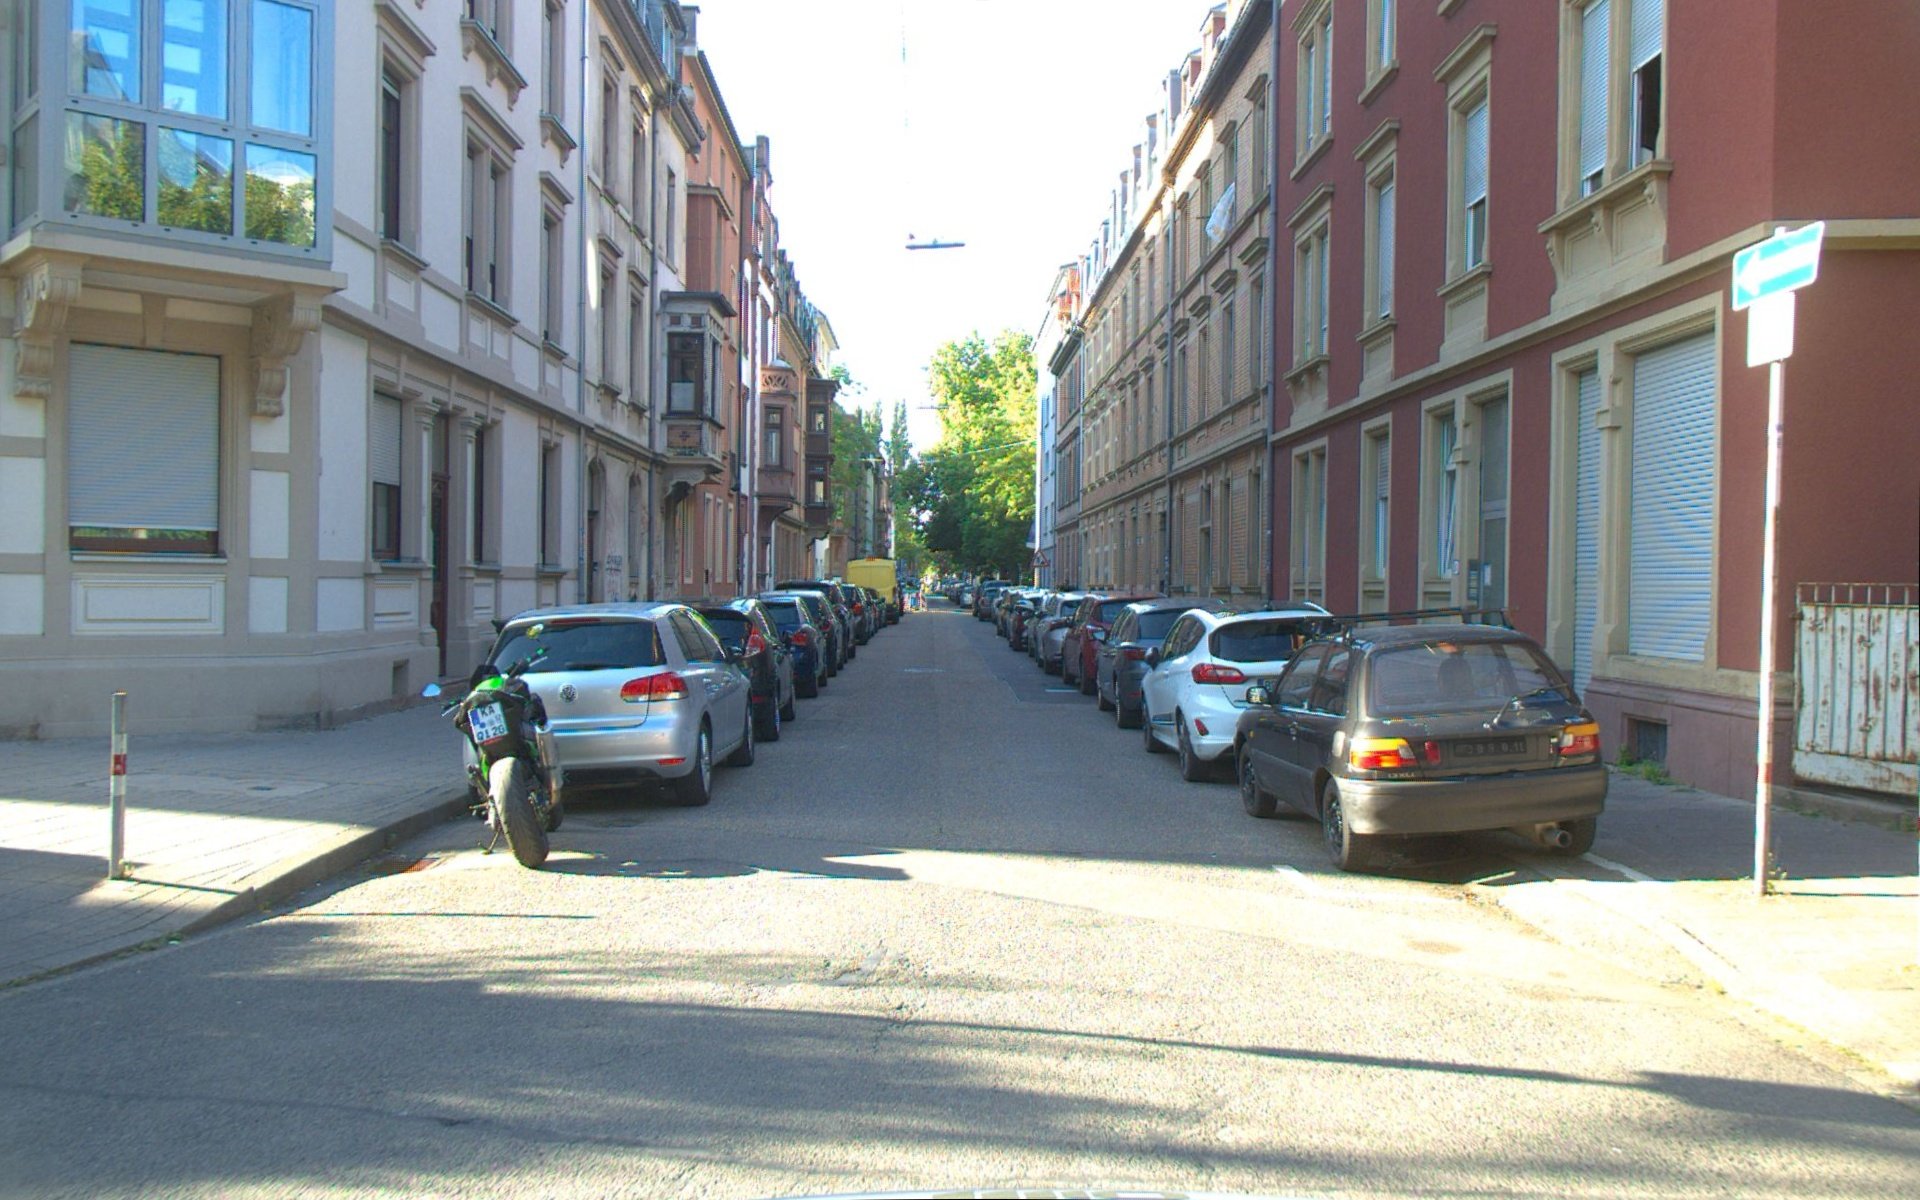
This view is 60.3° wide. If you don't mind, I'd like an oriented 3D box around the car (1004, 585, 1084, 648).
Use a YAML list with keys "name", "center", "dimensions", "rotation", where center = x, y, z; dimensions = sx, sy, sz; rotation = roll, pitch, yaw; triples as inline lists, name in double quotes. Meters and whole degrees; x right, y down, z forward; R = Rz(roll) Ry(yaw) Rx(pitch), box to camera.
- name: "car"
  center: [2.080, 0.381, 41.810]
  dimensions: [1.741, 1.421, 4.317]
  rotation: [1, 1, -1]

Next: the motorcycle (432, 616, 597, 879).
- name: "motorcycle"
  center: [-2.634, 0.808, 9.975]
  dimensions: [0.664, 1.357, 1.997]
  rotation: [-1, 1, -7]

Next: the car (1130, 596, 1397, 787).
- name: "car"
  center: [2.680, 0.744, 15.482]
  dimensions: [1.670, 1.488, 3.969]
  rotation: [1, 1, -1]

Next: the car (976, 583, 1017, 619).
- name: "car"
  center: [1.607, 0.027, 74.464]
  dimensions: [1.718, 1.478, 4.288]
  rotation: [-3, 1, 0]

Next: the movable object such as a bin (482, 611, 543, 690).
- name: "movable object such as a bin"
  center: [-5.729, 0.639, 21.180]
  dimensions: [0.609, 0.972, 0.511]
  rotation: [3, 0, -1]

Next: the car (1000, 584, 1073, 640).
- name: "car"
  center: [2.188, 0.317, 48.230]
  dimensions: [1.691, 1.442, 4.092]
  rotation: [-3, 1, -3]

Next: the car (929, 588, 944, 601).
- name: "car"
  center: [-3.175, -0.737, 223.241]
  dimensions: [1.953, 1.758, 3.999]
  rotation: [1, 1, -1]

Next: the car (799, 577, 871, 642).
- name: "car"
  center: [-3.284, 0.215, 44.091]
  dimensions: [1.745, 1.634, 4.068]
  rotation: [1, 1, -2]

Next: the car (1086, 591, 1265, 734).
- name: "car"
  center: [2.589, 0.692, 20.682]
  dimensions: [1.642, 1.529, 4.069]
  rotation: [1, 1, -1]

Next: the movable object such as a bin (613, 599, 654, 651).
- name: "movable object such as a bin"
  center: [-6.028, 0.459, 30.521]
  dimensions: [0.600, 0.936, 0.733]
  rotation: [1, 0, -2]

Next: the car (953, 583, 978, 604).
- name: "car"
  center: [0.445, -0.548, 135.265]
  dimensions: [1.856, 1.653, 3.998]
  rotation: [1, 0, -2]

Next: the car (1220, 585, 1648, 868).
- name: "car"
  center: [2.906, 0.686, 10.966]
  dimensions: [1.635, 1.509, 3.705]
  rotation: [1, 1, -2]

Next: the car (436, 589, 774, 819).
- name: "car"
  center: [-2.639, 0.695, 13.232]
  dimensions: [1.744, 1.509, 3.933]
  rotation: [1, 1, 1]

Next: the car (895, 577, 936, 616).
- name: "car"
  center: [-2.211, -0.179, 81.133]
  dimensions: [1.783, 1.797, 4.332]
  rotation: [1, 0, -4]

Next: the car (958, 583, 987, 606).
- name: "car"
  center: [0.829, -0.404, 113.988]
  dimensions: [1.689, 1.549, 3.997]
  rotation: [1, 1, -4]

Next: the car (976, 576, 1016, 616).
- name: "car"
  center: [1.704, -0.242, 79.902]
  dimensions: [1.718, 1.817, 4.723]
  rotation: [-1, 1, -1]

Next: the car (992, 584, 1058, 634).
- name: "car"
  center: [2.037, 0.250, 52.972]
  dimensions: [1.719, 1.471, 4.067]
  rotation: [-2, 1, -3]

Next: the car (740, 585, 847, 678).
- name: "car"
  center: [-2.890, 0.505, 29.350]
  dimensions: [1.610, 1.481, 3.838]
  rotation: [-1, 1, -2]

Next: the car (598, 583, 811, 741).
- name: "car"
  center: [-2.684, 0.590, 18.149]
  dimensions: [1.745, 1.509, 3.742]
  rotation: [1, 1, 0]

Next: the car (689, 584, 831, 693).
- name: "car"
  center: [-2.860, 0.505, 24.310]
  dimensions: [1.745, 1.427, 3.741]
  rotation: [1, 1, -2]

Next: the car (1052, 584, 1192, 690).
- name: "car"
  center: [2.505, 0.527, 26.431]
  dimensions: [1.626, 1.505, 4.022]
  rotation: [1, 1, -3]

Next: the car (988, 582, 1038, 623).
- name: "car"
  center: [2.171, 0.063, 68.588]
  dimensions: [1.718, 1.544, 4.442]
  rotation: [-3, 1, -2]

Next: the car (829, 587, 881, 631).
- name: "car"
  center: [-3.454, 0.284, 54.955]
  dimensions: [1.585, 1.350, 3.611]
  rotation: [-2, 1, -2]

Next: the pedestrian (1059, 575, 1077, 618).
- name: "pedestrian"
  center: [4.183, -0.126, 63.958]
  dimensions: [0.640, 1.659, 0.881]
  rotation: [-1, 0, 2]

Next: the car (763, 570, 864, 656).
- name: "car"
  center: [-3.004, 0.228, 34.532]
  dimensions: [1.725, 1.645, 4.189]
  rotation: [1, 1, 0]

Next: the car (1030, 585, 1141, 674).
- name: "car"
  center: [2.305, 0.493, 31.360]
  dimensions: [1.726, 1.509, 4.401]
  rotation: [1, 1, 0]

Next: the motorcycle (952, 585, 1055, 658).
- name: "motorcycle"
  center: [1.013, 0.511, 38.562]
  dimensions: [2.193, 1.563, 0.882]
  rotation: [3, 0, -27]

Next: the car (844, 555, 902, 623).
- name: "car"
  center: [-3.447, -0.450, 66.350]
  dimensions: [2.131, 2.551, 5.877]
  rotation: [-1, 1, -1]

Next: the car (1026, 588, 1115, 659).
- name: "car"
  center: [2.376, 0.477, 36.427]
  dimensions: [1.657, 1.430, 3.992]
  rotation: [1, 1, 0]
